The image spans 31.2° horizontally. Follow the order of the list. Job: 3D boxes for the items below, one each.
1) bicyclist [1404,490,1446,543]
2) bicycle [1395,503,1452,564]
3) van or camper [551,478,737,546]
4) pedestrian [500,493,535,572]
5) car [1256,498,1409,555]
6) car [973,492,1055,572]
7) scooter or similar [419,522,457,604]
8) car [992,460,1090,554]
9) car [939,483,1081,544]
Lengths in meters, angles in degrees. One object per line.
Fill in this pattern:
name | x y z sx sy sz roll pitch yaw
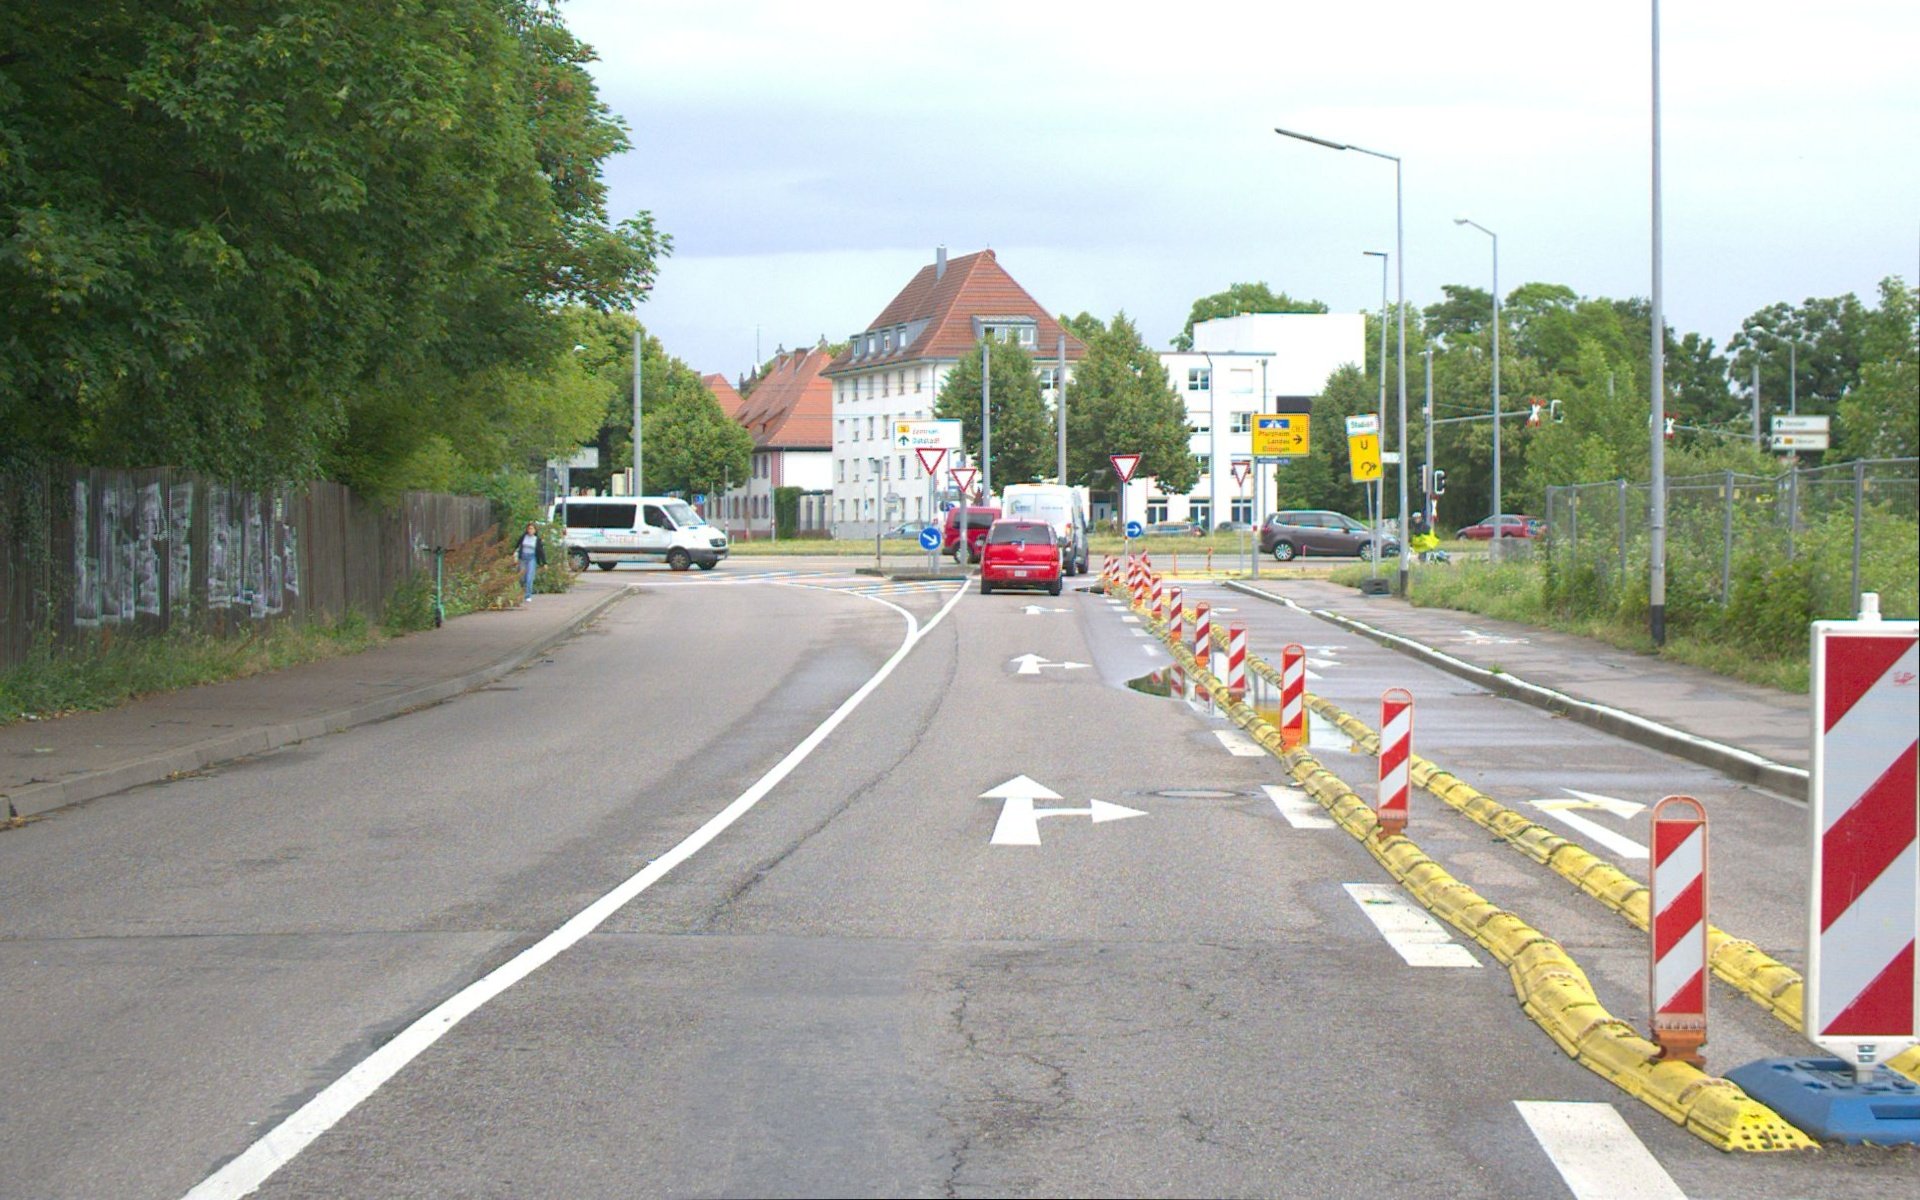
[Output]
bicyclist | 12.312 -2.212 91.100 1.062 1.396 0.615 0 1 5
bicycle | 12.413 -1.778 92.016 1.477 1.606 0.606 0 1 5
van or camper | -9.951 -2.777 108.389 5.541 2.108 1.998 0 2 23
pedestrian | -8.555 -1.311 66.522 0.612 1.524 0.724 0 1 -3
car | 12.028 -2.383 111.080 4.605 1.789 2.110 1 2 44
car | 1.174 -1.464 73.104 1.673 1.635 3.627 1 2 2
scooter or similar | -7.648 -0.549 50.377 0.422 1.166 1.304 0 2 -4
car | 2.314 -2.600 96.492 2.196 2.531 4.961 1 2 7
car | 1.621 -2.789 110.593 4.197 1.911 2.114 0 2 13
